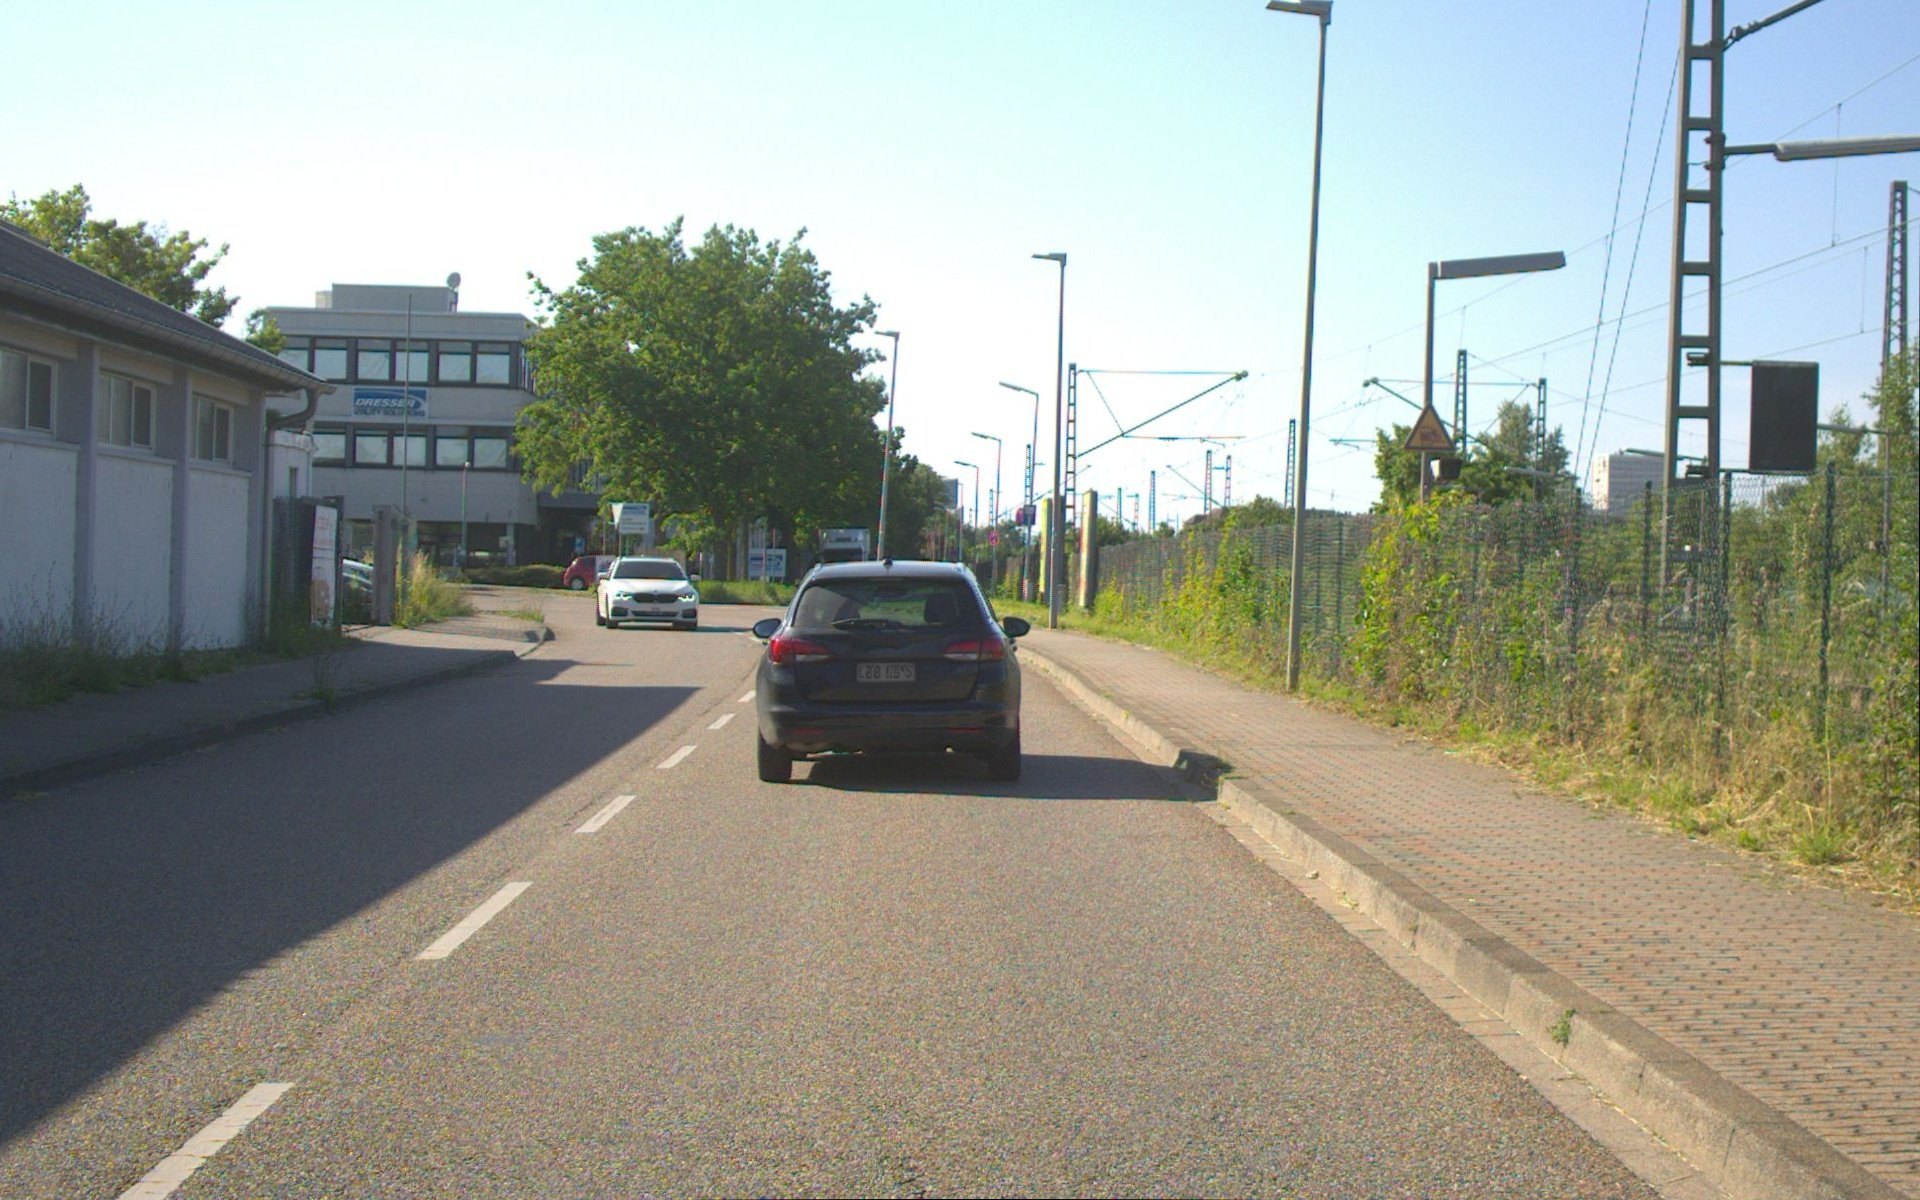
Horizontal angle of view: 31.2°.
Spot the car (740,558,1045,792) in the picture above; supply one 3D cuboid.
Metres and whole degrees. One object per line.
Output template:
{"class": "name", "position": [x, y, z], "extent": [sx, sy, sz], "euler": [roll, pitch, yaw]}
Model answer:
{"class": "car", "position": [-0.481, 0.467, 24.251], "extent": [1.942, 1.483, 4.565], "euler": [0, 0, -1]}

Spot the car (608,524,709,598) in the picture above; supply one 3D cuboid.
{"class": "car", "position": [-6.242, -0.816, 71.598], "extent": [1.808, 1.473, 4.688], "euler": [0, 1, -2]}

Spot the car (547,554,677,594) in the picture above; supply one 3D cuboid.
{"class": "car", "position": [-13.998, -1.051, 138.536], "extent": [4.911, 1.479, 2.000], "euler": [2, 1, 4]}

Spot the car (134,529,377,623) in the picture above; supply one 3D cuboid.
{"class": "car", "position": [-13.264, -0.459, 64.838], "extent": [4.388, 1.643, 1.841], "euler": [1, 0, -11]}

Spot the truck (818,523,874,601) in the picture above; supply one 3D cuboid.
{"class": "truck", "position": [-6.135, -2.014, 182.858], "extent": [2.613, 3.872, 13.533], "euler": [2, 0, -3]}

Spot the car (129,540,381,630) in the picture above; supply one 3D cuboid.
{"class": "car", "position": [-12.778, -0.271, 62.442], "extent": [4.388, 1.501, 1.841], "euler": [1, 0, -11]}
